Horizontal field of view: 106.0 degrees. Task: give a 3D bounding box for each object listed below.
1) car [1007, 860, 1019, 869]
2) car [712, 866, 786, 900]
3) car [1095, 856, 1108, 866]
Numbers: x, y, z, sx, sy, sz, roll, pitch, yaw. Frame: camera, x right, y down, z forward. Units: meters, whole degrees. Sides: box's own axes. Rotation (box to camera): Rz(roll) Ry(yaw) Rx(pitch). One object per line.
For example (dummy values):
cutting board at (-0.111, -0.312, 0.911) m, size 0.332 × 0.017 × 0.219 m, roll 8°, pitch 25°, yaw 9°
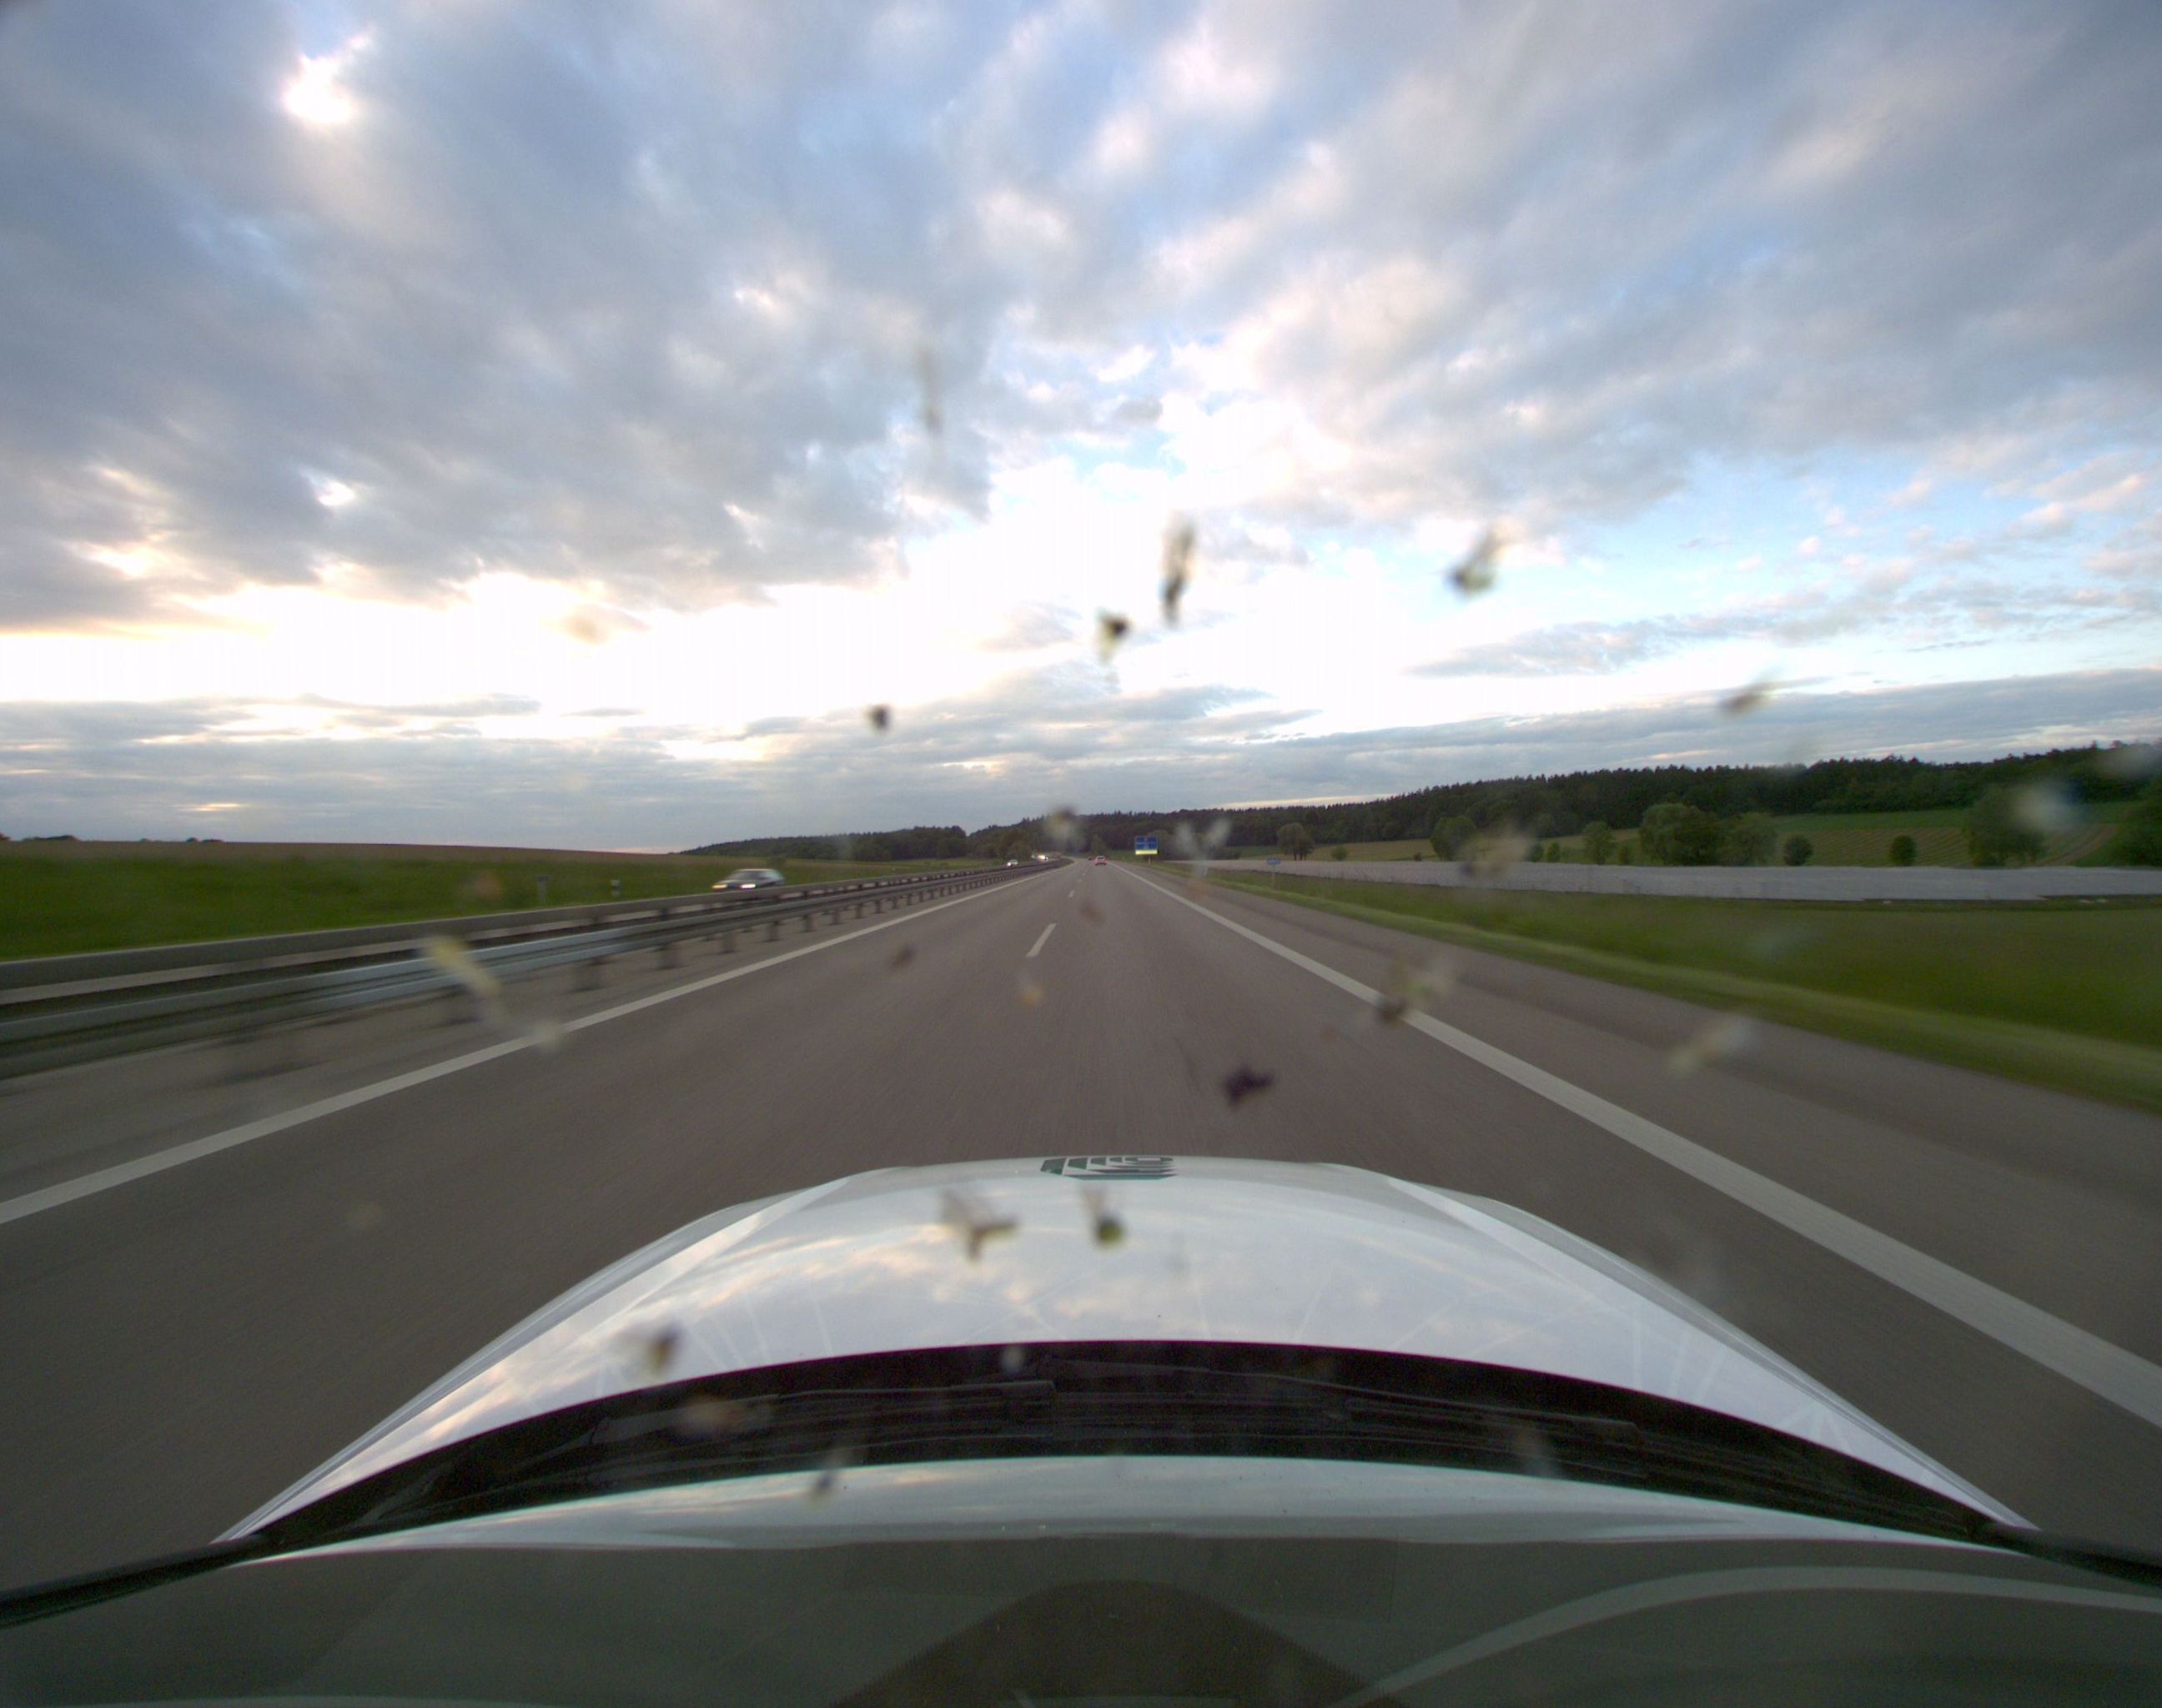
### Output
car at (-13.431, 2.054, 161.221) m, size 1.784 × 1.699 × 4.591 m, roll 0°, pitch 0°, yaw 1°
car at (-15.153, 1.298, 37.413) m, size 1.668 × 1.360 × 4.011 m, roll 1°, pitch 0°, yaw 0°
car at (3.375, 1.177, 133.756) m, size 1.946 × 1.531 × 4.078 m, roll 0°, pitch 0°, yaw -1°
